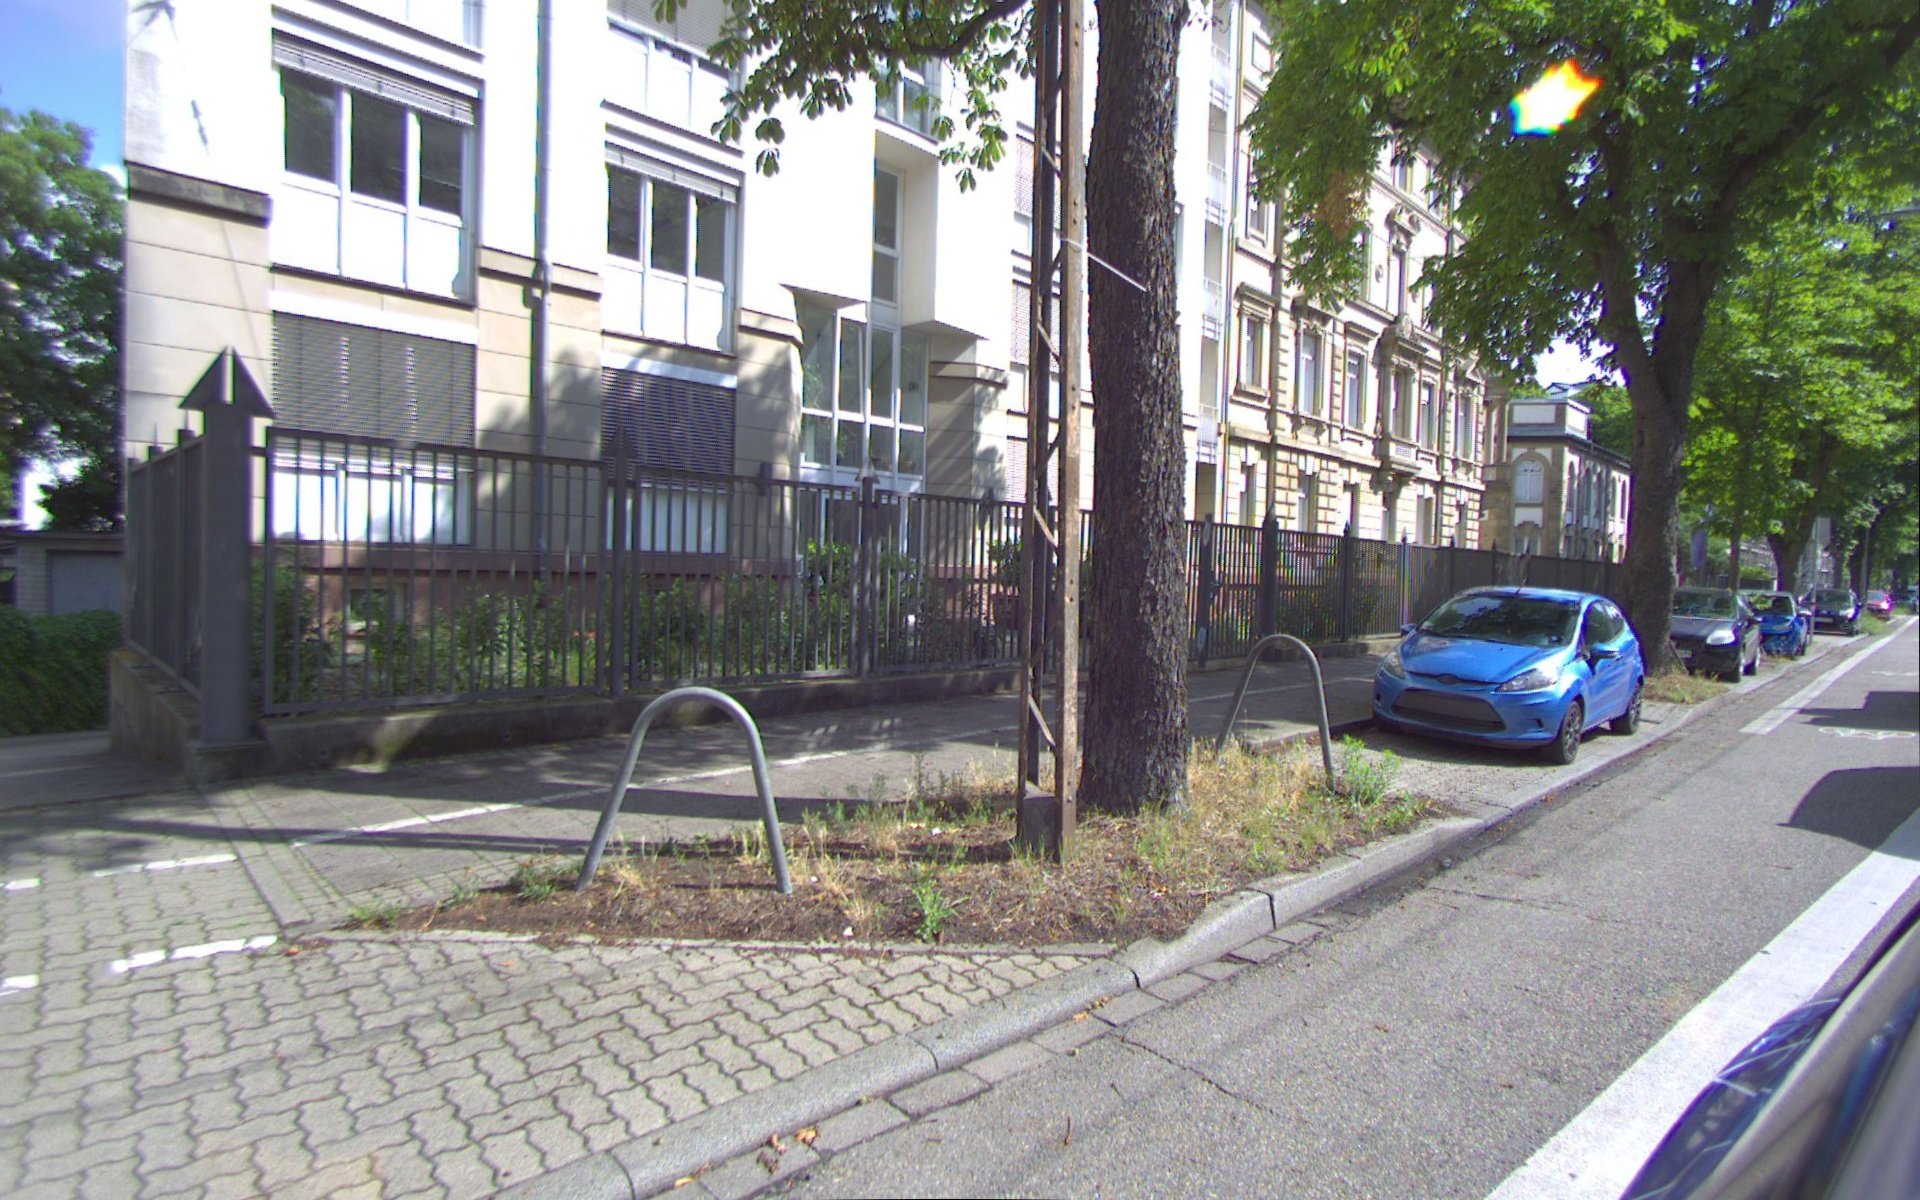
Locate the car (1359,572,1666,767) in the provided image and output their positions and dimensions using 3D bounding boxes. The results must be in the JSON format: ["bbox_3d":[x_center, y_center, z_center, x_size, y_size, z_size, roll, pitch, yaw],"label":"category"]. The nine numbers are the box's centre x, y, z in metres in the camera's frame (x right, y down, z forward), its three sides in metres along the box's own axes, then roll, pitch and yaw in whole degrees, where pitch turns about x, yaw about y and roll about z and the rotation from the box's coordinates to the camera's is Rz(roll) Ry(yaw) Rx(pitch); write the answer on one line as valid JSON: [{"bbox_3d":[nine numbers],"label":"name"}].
[{"bbox_3d":[5.530,0.522,9.944,1.639,1.472,3.639,6,4,44],"label":"car"}]

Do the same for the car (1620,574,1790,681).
[{"bbox_3d":[12.671,0.389,17.145,3.562,1.526,1.643,0,5,-43],"label":"car"}]

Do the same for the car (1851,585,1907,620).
[{"bbox_3d":[47.251,0.086,52.020,4.131,1.591,1.772,-1,5,-44],"label":"car"}]

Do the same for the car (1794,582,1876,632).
[{"bbox_3d":[31.291,0.204,36.160,4.131,1.549,1.772,-1,5,-44],"label":"car"}]

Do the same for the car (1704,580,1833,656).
[{"bbox_3d":[18.288,0.345,22.841,3.861,1.469,1.722,-1,5,-44],"label":"car"}]
